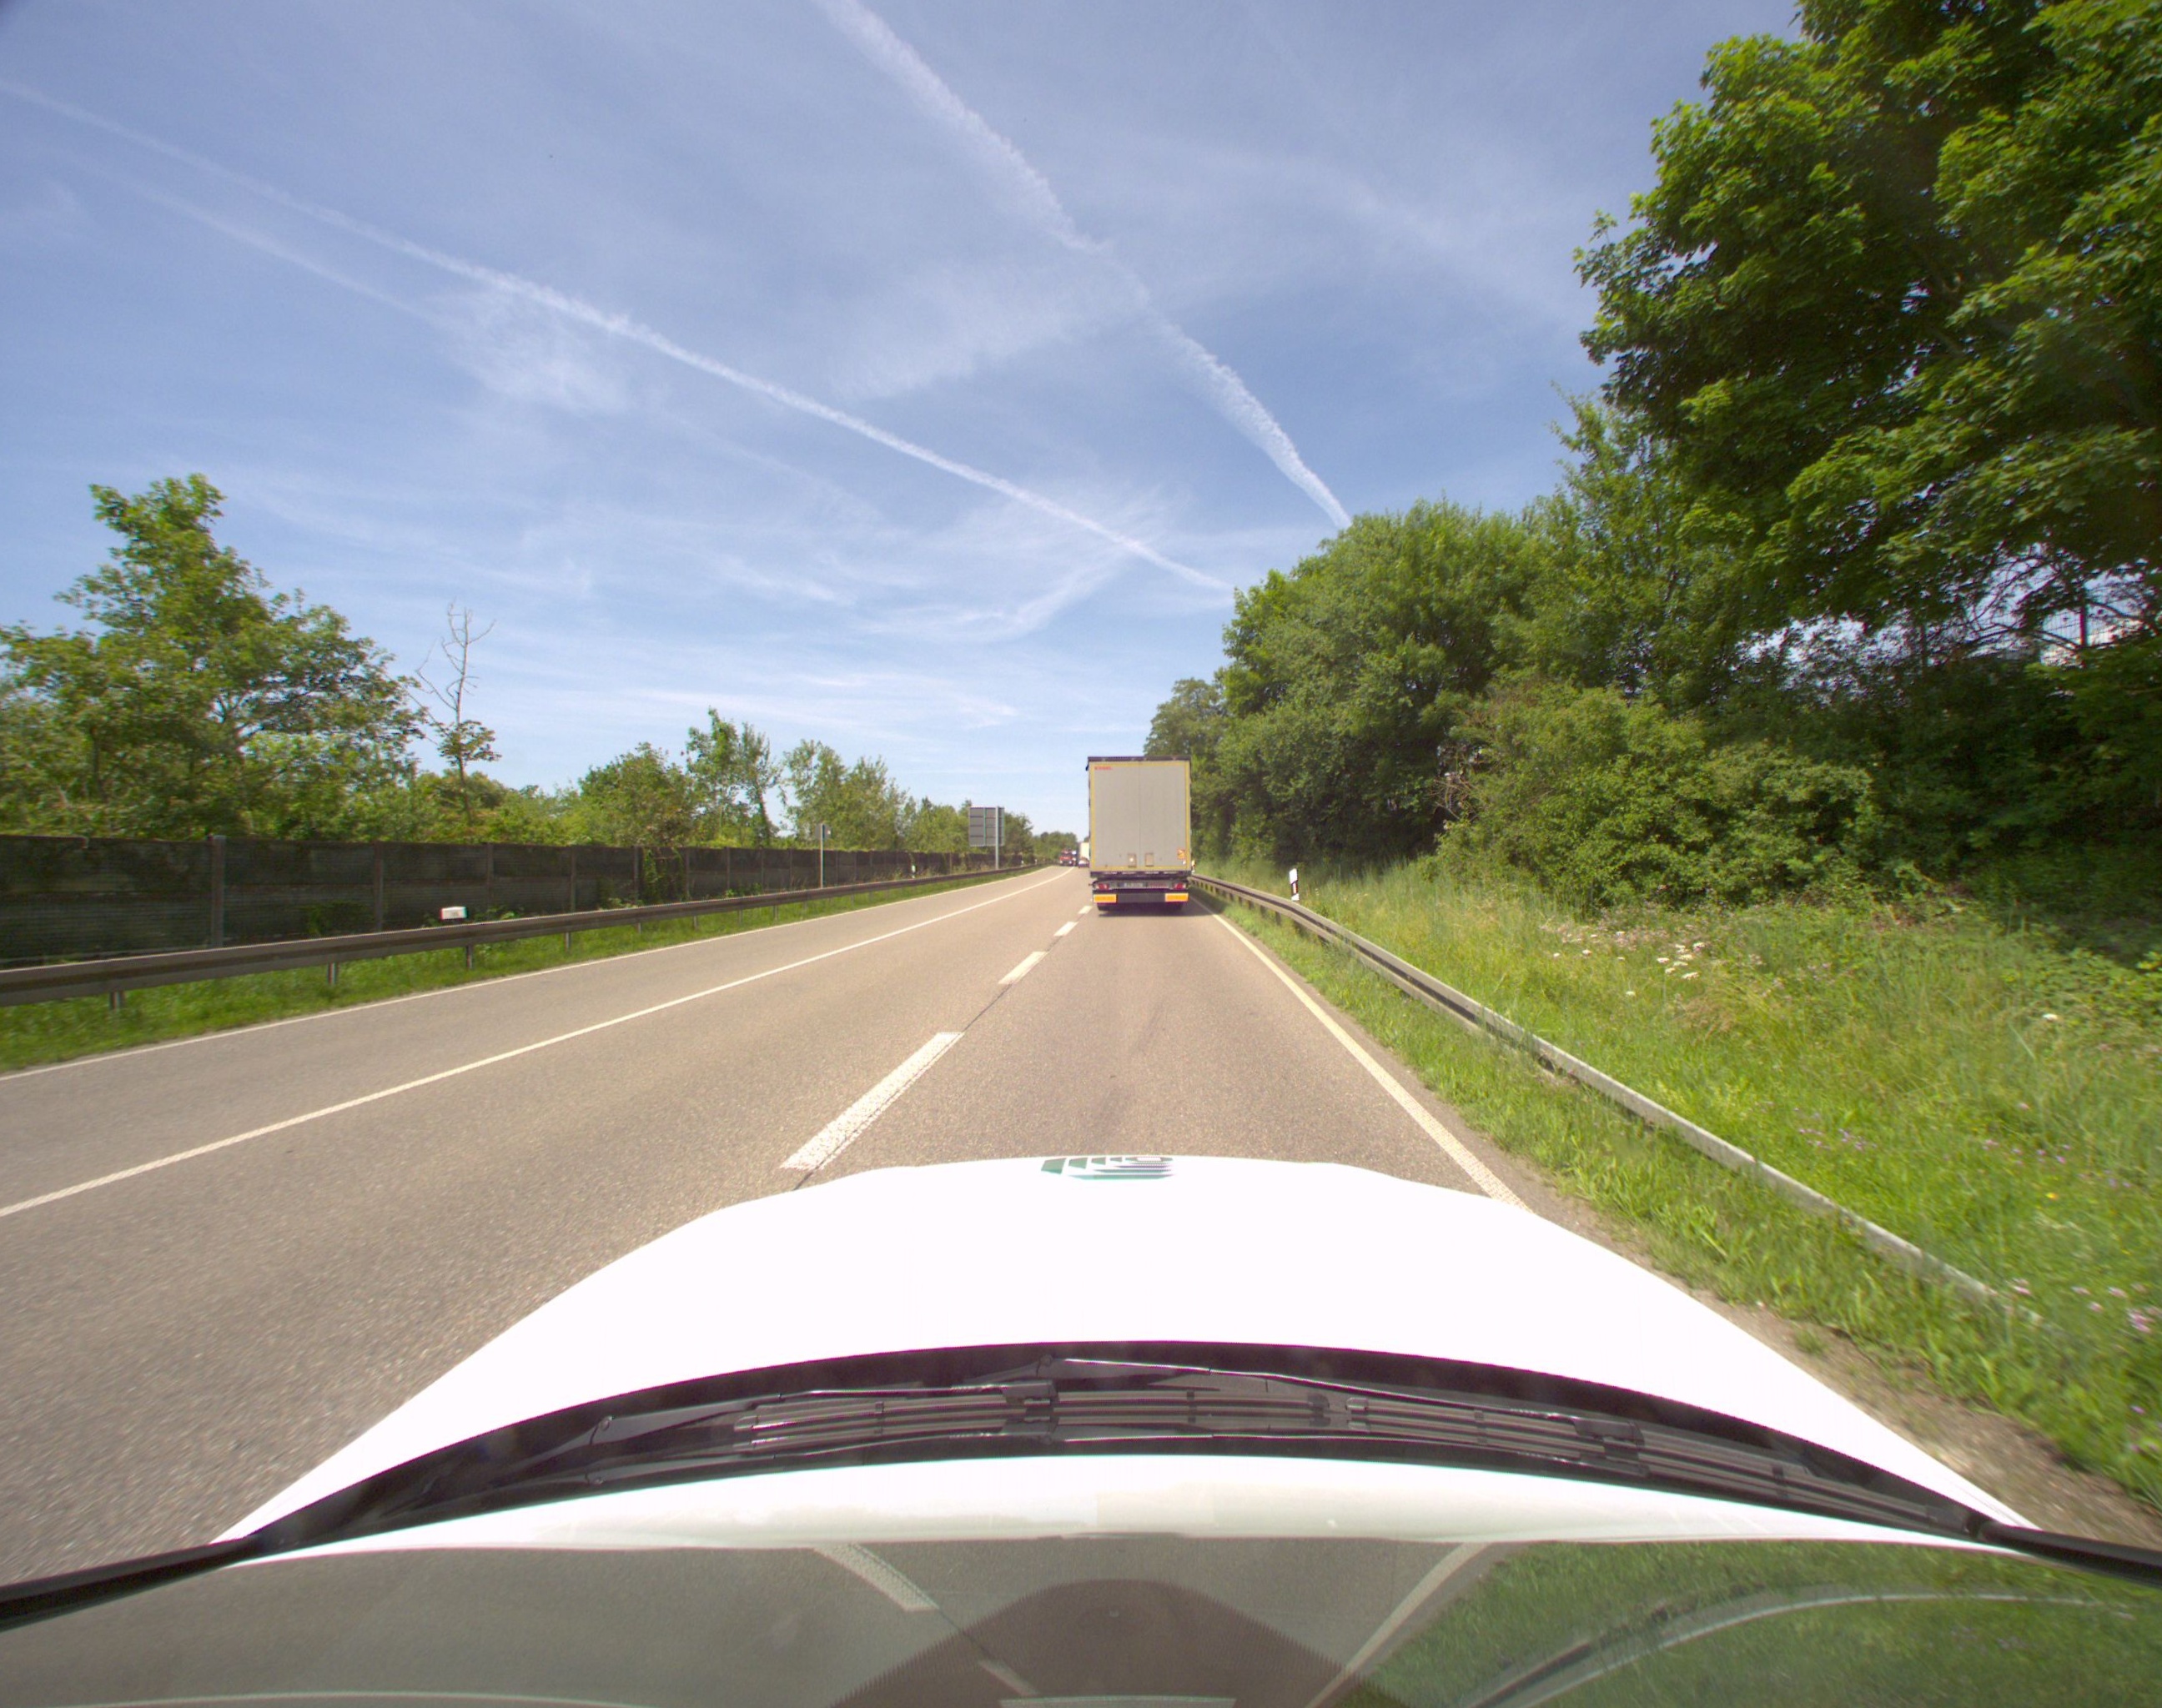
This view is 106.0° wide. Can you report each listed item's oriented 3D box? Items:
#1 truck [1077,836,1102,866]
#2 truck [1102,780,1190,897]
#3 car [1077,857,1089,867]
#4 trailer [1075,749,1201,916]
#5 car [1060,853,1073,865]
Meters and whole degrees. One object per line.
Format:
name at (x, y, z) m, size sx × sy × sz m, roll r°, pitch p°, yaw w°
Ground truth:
truck at (1.363, -0.447, 136.235) m, size 3.815 × 4.744 × 16.202 m, roll -1°, pitch 0°, yaw 1°
truck at (2.718, -0.535, 33.417) m, size 3.137 × 4.225 × 7.132 m, roll -1°, pitch -1°, yaw 5°
car at (0.270, 1.157, 117.030) m, size 1.660 × 1.486 × 3.999 m, roll 0°, pitch 0°, yaw 0°
trailer at (2.048, -0.483, 26.628) m, size 3.012 × 4.035 × 13.372 m, roll -1°, pitch 0°, yaw 6°
car at (-3.104, 1.117, 173.368) m, size 2.609 × 2.423 × 5.824 m, roll -2°, pitch 0°, yaw -2°
